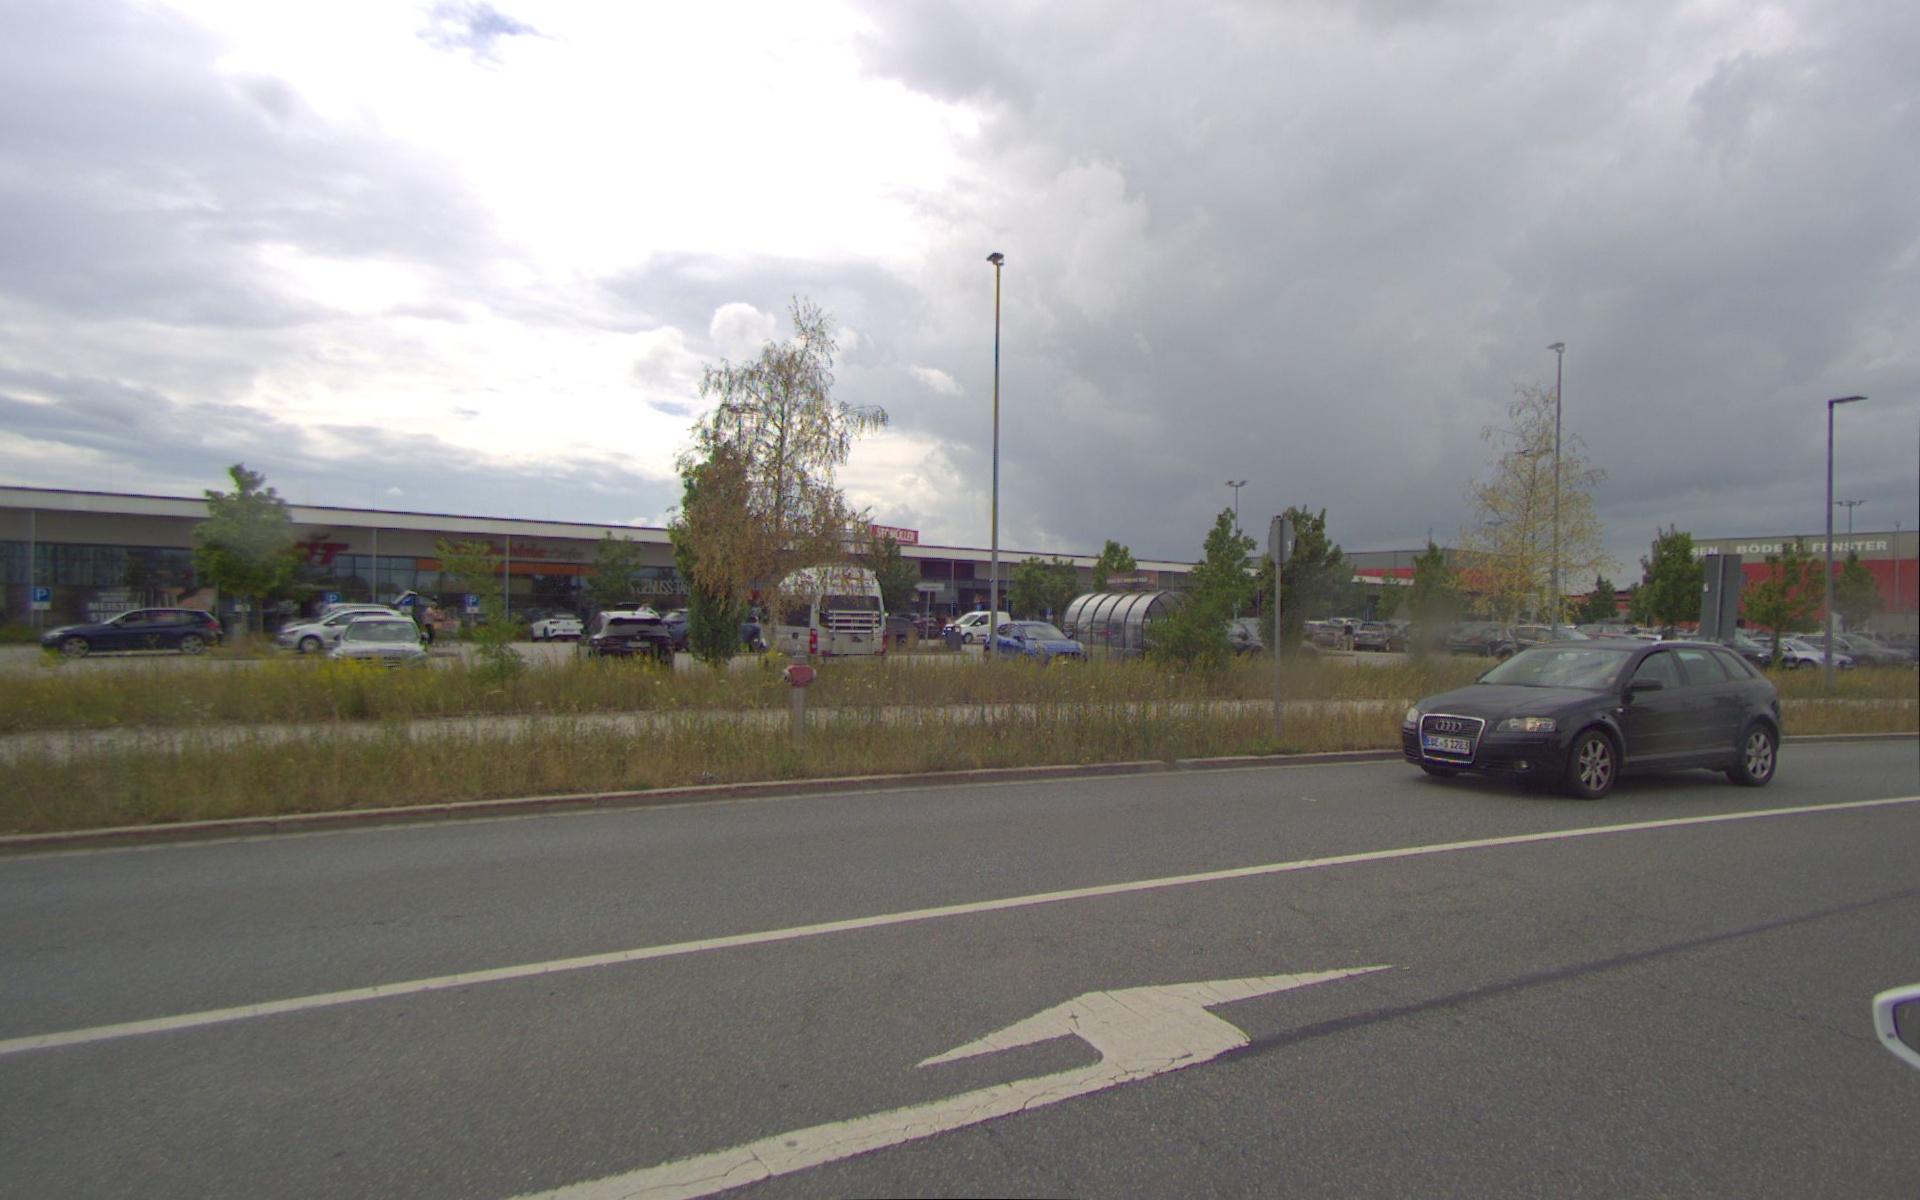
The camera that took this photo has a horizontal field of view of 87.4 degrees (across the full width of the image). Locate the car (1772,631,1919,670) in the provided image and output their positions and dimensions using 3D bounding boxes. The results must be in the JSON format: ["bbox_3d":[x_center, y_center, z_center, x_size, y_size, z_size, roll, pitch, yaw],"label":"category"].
[{"bbox_3d":[36.056,2.010,40.808,2.129,1.409,4.359,1,-1,-15],"label":"car"}]

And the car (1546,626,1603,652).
[{"bbox_3d":[39.952,2.538,65.288,3.966,1.628,1.977,2,-1,-39],"label":"car"}]

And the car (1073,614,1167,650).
[{"bbox_3d":[7.306,1.467,45.625,4.161,1.539,1.977,2,-1,-39],"label":"car"}]

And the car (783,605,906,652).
[{"bbox_3d":[-4.952,1.216,43.304,4.875,1.924,2.139,2,-1,-34],"label":"car"}]

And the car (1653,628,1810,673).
[{"bbox_3d":[29.564,1.906,38.681,2.203,1.525,4.365,1,-1,-16],"label":"car"}]

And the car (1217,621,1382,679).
[{"bbox_3d":[8.395,1.208,25.244,1.978,1.276,4.080,1,-1,-16],"label":"car"}]

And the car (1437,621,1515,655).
[{"bbox_3d":[25.842,1.893,50.266,3.963,1.628,1.979,2,-1,-37],"label":"car"}]

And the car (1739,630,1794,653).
[{"bbox_3d":[57.320,2.940,71.410,4.187,1.539,1.980,2,-1,-35],"label":"car"}]

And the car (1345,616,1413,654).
[{"bbox_3d":[22.811,1.879,54.566,4.418,1.947,1.814,2,-1,-44],"label":"car"}]

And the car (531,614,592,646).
[{"bbox_3d":[-20.042,1.467,50.425,1.980,1.494,3.961,2,-1,-34],"label":"car"}]

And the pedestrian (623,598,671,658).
[{"bbox_3d":[-10.285,0.918,33.032,0.993,1.915,1.111,1,-1,31],"label":"pedestrian"}]

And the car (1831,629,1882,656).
[{"bbox_3d":[60.510,2.864,67.757,3.966,1.752,1.977,2,-1,-39],"label":"car"}]

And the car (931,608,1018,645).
[{"bbox_3d":[0.810,1.449,54.732,4.268,1.899,2.220,2,-1,-38],"label":"car"}]

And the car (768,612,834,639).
[{"bbox_3d":[-9.363,1.468,59.146,1.990,1.502,4.002,2,-1,-42],"label":"car"}]

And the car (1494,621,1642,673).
[{"bbox_3d":[21.740,1.647,36.127,2.048,1.677,4.298,1,-1,-18],"label":"car"}]

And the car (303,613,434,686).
[{"bbox_3d":[-12.839,1.012,22.072,2.114,1.384,4.551,1,-1,-26],"label":"car"}]

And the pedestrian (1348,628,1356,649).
[{"bbox_3d":[20.675,2.021,52.997,0.263,1.063,0.391,2,0,6],"label":"pedestrian"}]

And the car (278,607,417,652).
[{"bbox_3d":[-20.771,0.994,34.123,3.867,1.461,1.871,2,-1,-37],"label":"car"}]

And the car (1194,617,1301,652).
[{"bbox_3d":[13.538,1.619,47.177,5.049,1.539,1.983,2,-1,-32],"label":"car"}]

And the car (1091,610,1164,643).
[{"bbox_3d":[9.050,1.417,54.189,3.971,1.706,1.816,2,-1,-42],"label":"car"}]

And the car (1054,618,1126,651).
[{"bbox_3d":[7.213,1.899,55.513,3.971,1.706,1.816,2,-1,-42],"label":"car"}]

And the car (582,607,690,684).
[{"bbox_3d":[-7.794,1.022,23.921,2.056,1.656,3.934,1,-1,-23],"label":"car"}]

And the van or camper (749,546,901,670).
[{"bbox_3d":[-3.675,0.234,26.186,2.213,2.837,5.834,2,-1,-25],"label":"van or camper"}]

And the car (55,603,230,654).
[{"bbox_3d":[-24.984,0.870,30.783,4.035,1.461,1.827,2,-1,-42],"label":"car"}]

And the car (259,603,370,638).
[{"bbox_3d":[-28.082,0.894,43.870,3.954,1.461,1.983,2,-1,-31],"label":"car"}]

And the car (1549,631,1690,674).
[{"bbox_3d":[24.119,1.880,36.922,1.967,1.409,4.086,1,-1,-15],"label":"car"}]

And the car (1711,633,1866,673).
[{"bbox_3d":[32.372,2.049,39.408,1.996,1.358,4.308,1,-1,-19],"label":"car"}]

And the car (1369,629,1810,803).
[{"bbox_3d":[6.346,1.064,10.107,4.175,1.464,1.714,2,-2,-23],"label":"car"}]

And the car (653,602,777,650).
[{"bbox_3d":[-9.572,1.007,39.366,4.353,1.775,1.889,2,-1,-39],"label":"car"}]

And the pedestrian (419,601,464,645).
[{"bbox_3d":[-19.679,0.866,38.149,0.875,1.628,1.254,1,-1,35],"label":"pedestrian"}]

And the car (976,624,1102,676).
[{"bbox_3d":[2.199,1.403,29.332,1.982,1.322,4.316,1,-1,-22],"label":"car"}]

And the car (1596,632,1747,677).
[{"bbox_3d":[26.474,2.013,37.557,1.978,1.476,4.316,1,-1,-17],"label":"car"}]

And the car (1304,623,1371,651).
[{"bbox_3d":[21.372,2.092,56.826,3.966,1.528,1.818,2,-1,-39],"label":"car"}]
